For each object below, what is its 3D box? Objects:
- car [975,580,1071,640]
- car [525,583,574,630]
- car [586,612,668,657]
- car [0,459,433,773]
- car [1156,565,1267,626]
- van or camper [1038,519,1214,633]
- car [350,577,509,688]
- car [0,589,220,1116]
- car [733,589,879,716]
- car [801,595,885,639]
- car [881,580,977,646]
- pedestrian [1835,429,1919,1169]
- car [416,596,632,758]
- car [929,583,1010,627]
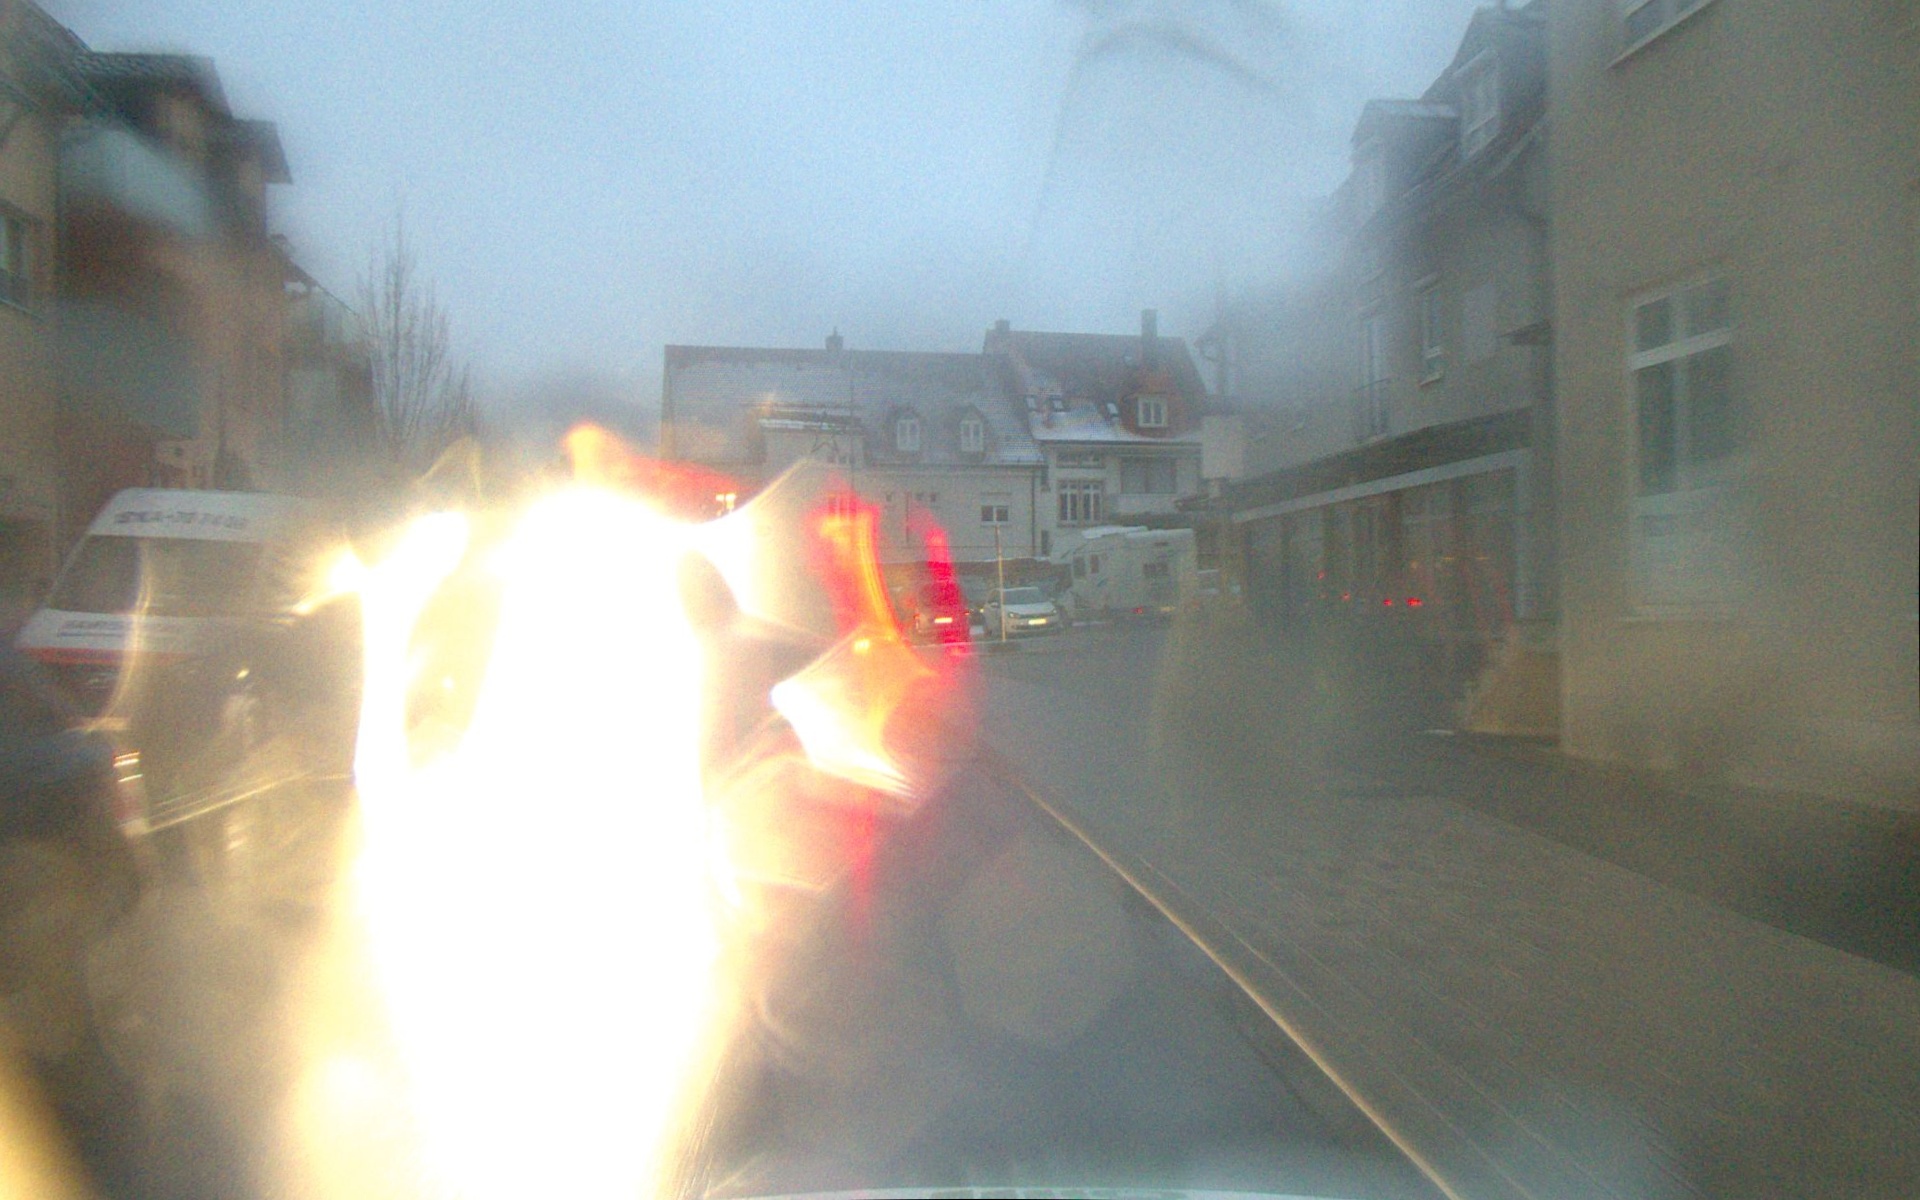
[{"bbox_3d":[1.832,0.321,49.580,1.958,1.639,4.163,-2,-1,-11],"label":"car"},{"bbox_3d":[-20.150,0.328,81.098,1.963,2.241,3.978,1,0,-19],"label":"car"},{"bbox_3d":[-12.548,1.281,62.160,1.971,1.616,3.962,1,0,-29],"label":"car"},{"bbox_3d":[-7.628,0.177,17.249,2.436,2.605,6.755,1,-1,-4],"label":"car"},{"bbox_3d":[7.531,-0.133,49.850,1.759,1.580,3.984,-6,1,-14],"label":"car"},{"bbox_3d":[4.907,-0.681,50.209,2.612,3.100,6.696,-4,1,-19],"label":"van or camper"},{"bbox_3d":[-9.812,0.578,31.006,1.956,1.876,5.292,1,0,-9],"label":"car"},{"bbox_3d":[-3.886,0.801,4.562,1.954,1.583,4.255,-1,1,-3],"label":"car"},{"bbox_3d":[-2.138,0.661,22.427,1.780,1.560,3.994,1,0,-7],"label":"car"},{"bbox_3d":[-4.156,0.575,58.331,1.862,1.488,3.606,-1,0,-24],"label":"car"},{"bbox_3d":[-0.984,0.373,49.360,1.959,1.796,4.335,-2,1,-13],"label":"car"},{"bbox_3d":[2.641,0.473,3.865,0.730,1.759,0.873,-1,1,0],"label":"pedestrian"},{"bbox_3d":[-4.926,0.817,19.236,1.881,1.592,4.218,-2,0,-8],"label":"car"},{"bbox_3d":[0.301,0.157,61.459,1.793,1.487,4.529,-2,1,-16],"label":"car"}]
